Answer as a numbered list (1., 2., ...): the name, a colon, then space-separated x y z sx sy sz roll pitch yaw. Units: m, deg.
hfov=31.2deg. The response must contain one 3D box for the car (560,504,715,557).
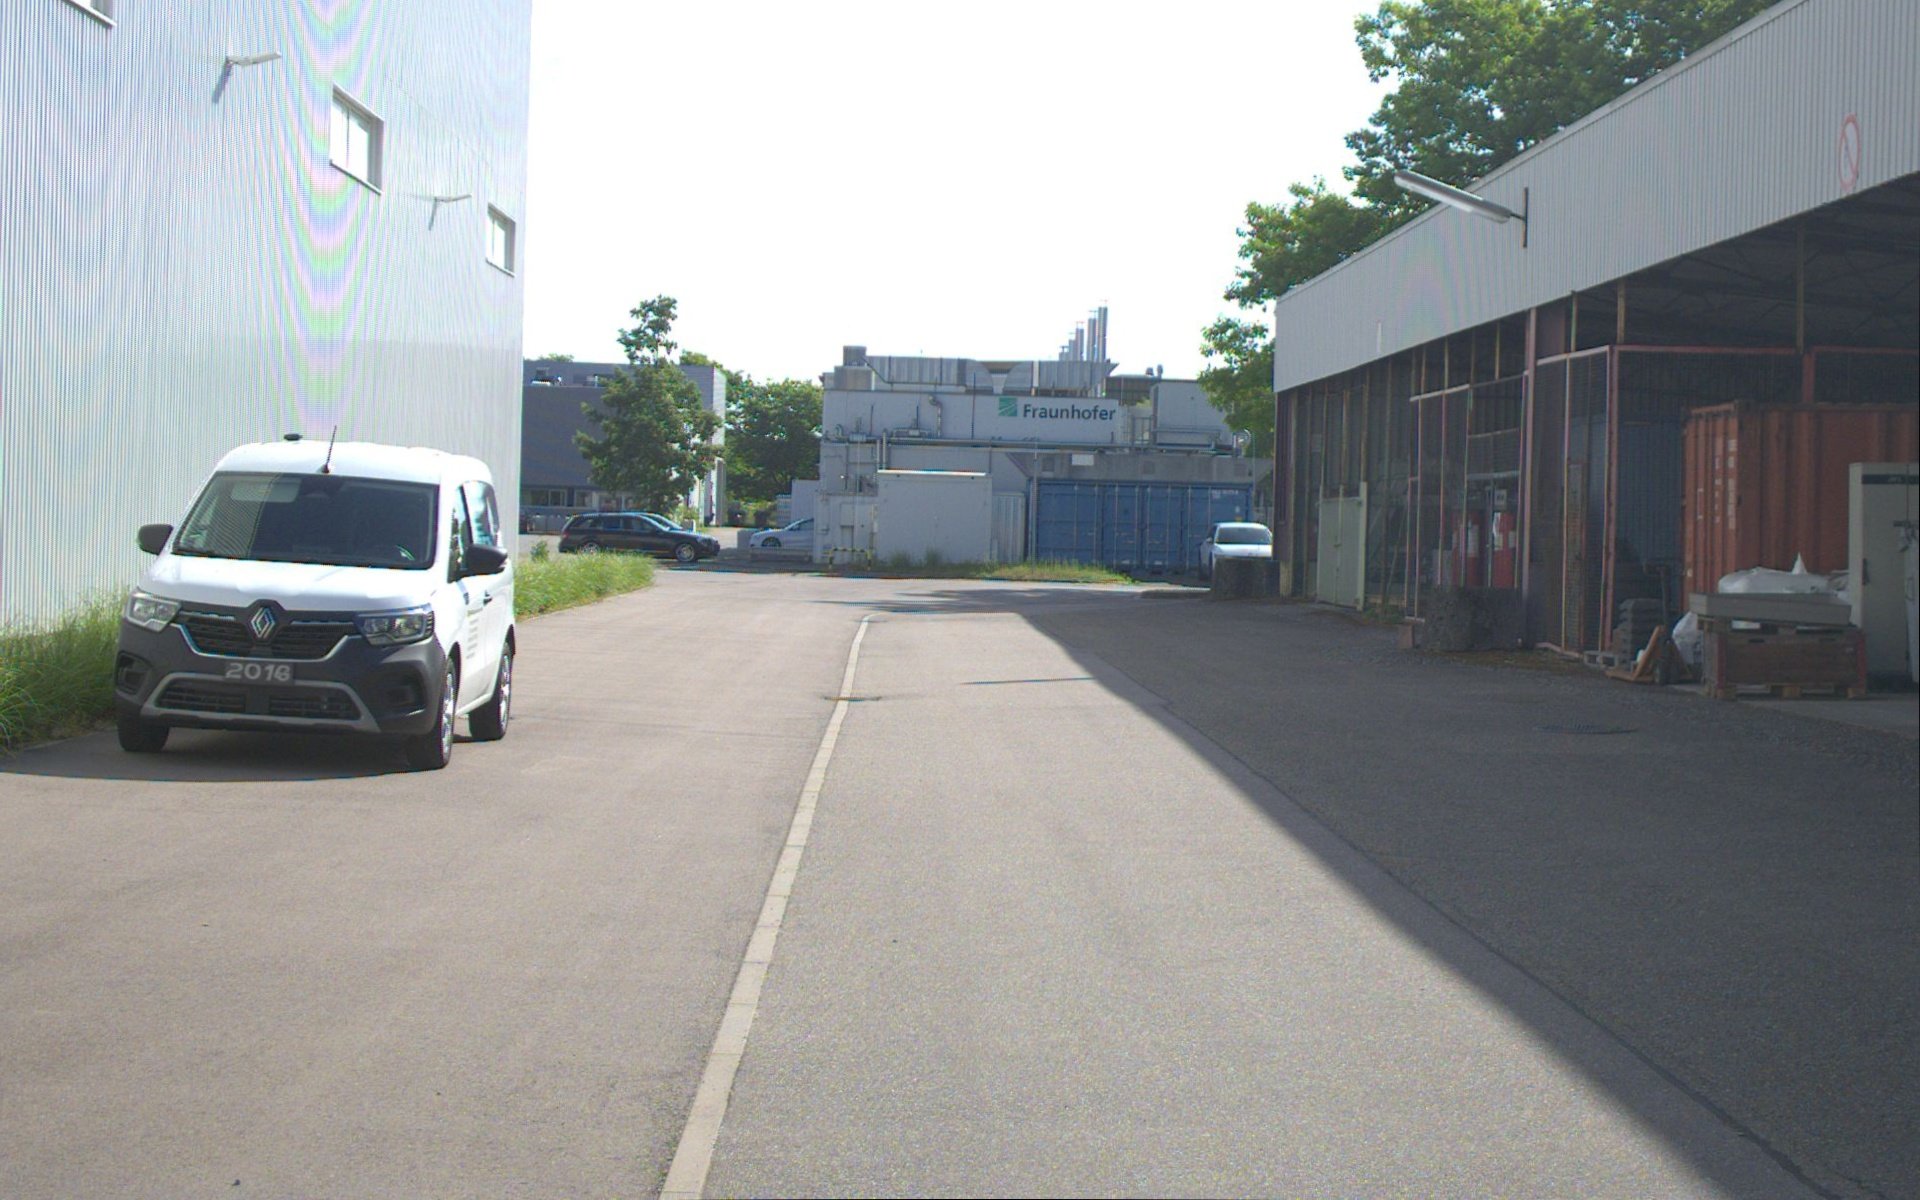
1. car: -9.577 -2.075 102.240 4.447 1.525 1.824 0 1 -1

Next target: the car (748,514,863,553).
1. car: -5.848 -2.522 130.172 4.302 1.452 1.824 0 1 -1

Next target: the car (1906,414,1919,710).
1. car: 10.063 -0.239 25.687 5.332 2.273 2.153 1 1 -1

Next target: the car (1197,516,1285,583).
1. car: 7.316 -1.344 89.955 1.979 1.597 4.378 0 3 1

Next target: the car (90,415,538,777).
1. car: -3.675 -0.056 20.354 1.783 1.809 4.602 3 1 -1

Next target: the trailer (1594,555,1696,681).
1. trailer: 6.242 0.150 31.383 0.551 1.114 1.547 0 1 -3

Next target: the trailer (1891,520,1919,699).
1. trailer: 8.888 0.076 28.296 2.038 1.461 1.738 0 1 3
